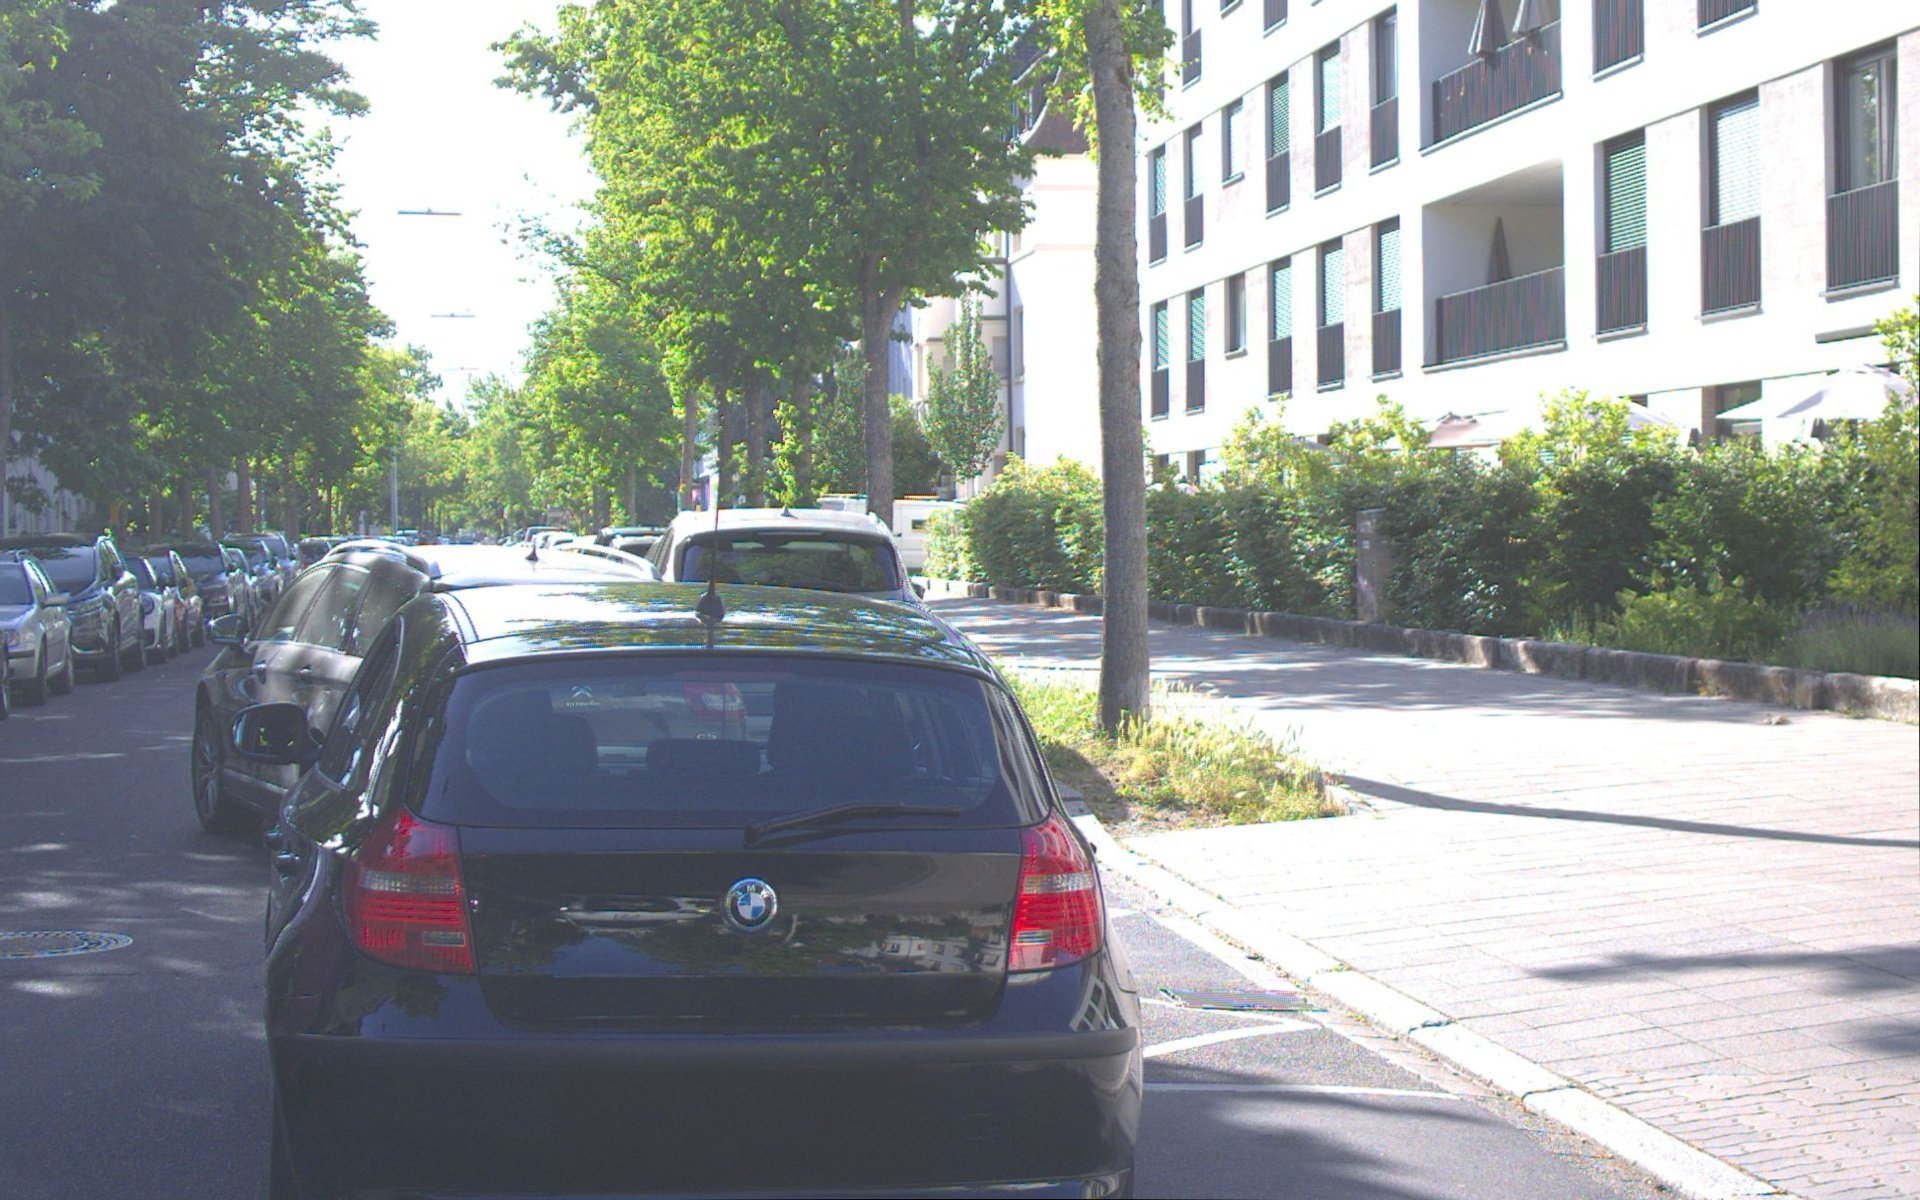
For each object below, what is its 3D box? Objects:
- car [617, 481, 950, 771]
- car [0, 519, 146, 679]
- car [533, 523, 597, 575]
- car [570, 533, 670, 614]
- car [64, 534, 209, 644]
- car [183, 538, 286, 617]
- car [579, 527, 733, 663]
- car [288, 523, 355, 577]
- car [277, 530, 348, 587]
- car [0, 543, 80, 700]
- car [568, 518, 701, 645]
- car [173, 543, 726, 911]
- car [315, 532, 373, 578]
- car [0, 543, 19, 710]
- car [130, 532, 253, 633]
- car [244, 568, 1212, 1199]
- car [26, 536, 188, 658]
[{"bbox_3d":[-1.206,0.118,21.494,1.847,1.625,4.411,0,1,-6],"label":"car"},{"bbox_3d":[-10.263,-0.052,38.895,1.612,1.673,4.235,-2,1,-8],"label":"car"},{"bbox_3d":[-11.711,-1.521,102.161,1.720,1.475,3.852,-2,1,-4],"label":"car"},{"bbox_3d":[-6.201,-0.502,62.455,1.720,1.374,3.852,1,1,-6],"label":"car"},{"bbox_3d":[-11.725,-0.186,49.109,1.612,1.447,3.867,-2,1,-8],"label":"car"},{"bbox_3d":[-13.761,-0.450,65.354,1.612,1.387,3.867,-2,1,-8],"label":"car"},{"bbox_3d":[-3.708,-0.101,41.474,1.720,1.523,4.001,1,1,-6],"label":"car"},{"bbox_3d":[-17.586,-1.387,94.736,1.612,1.387,3.867,-2,1,-8],"label":"car"},{"bbox_3d":[-16.807,-1.086,89.370,1.612,1.387,3.867,-2,1,-8],"label":"car"},{"bbox_3d":[-9.628,0.187,33.493,1.612,1.422,3.727,-2,1,-8],"label":"car"},{"bbox_3d":[-4.523,-0.283,47.426,1.720,1.635,3.852,1,1,-6],"label":"car"},{"bbox_3d":[-2.480,0.472,15.864,1.649,1.420,4.002,-2,2,-21],"label":"car"},{"bbox_3d":[-19.489,-1.434,108.869,1.612,1.387,3.867,-2,1,-8],"label":"car"},{"bbox_3d":[-8.902,0.273,28.449,1.612,1.422,4.059,-2,1,-8],"label":"car"},{"bbox_3d":[-12.481,-0.316,55.981,1.612,1.537,3.867,-2,1,-8],"label":"car"},{"bbox_3d":[-0.727,0.666,7.744,1.649,1.392,3.413,-2,2,-13],"label":"car"},{"bbox_3d":[-11.002,-0.069,44.553,1.612,1.447,3.867,-2,1,-8],"label":"car"}]
